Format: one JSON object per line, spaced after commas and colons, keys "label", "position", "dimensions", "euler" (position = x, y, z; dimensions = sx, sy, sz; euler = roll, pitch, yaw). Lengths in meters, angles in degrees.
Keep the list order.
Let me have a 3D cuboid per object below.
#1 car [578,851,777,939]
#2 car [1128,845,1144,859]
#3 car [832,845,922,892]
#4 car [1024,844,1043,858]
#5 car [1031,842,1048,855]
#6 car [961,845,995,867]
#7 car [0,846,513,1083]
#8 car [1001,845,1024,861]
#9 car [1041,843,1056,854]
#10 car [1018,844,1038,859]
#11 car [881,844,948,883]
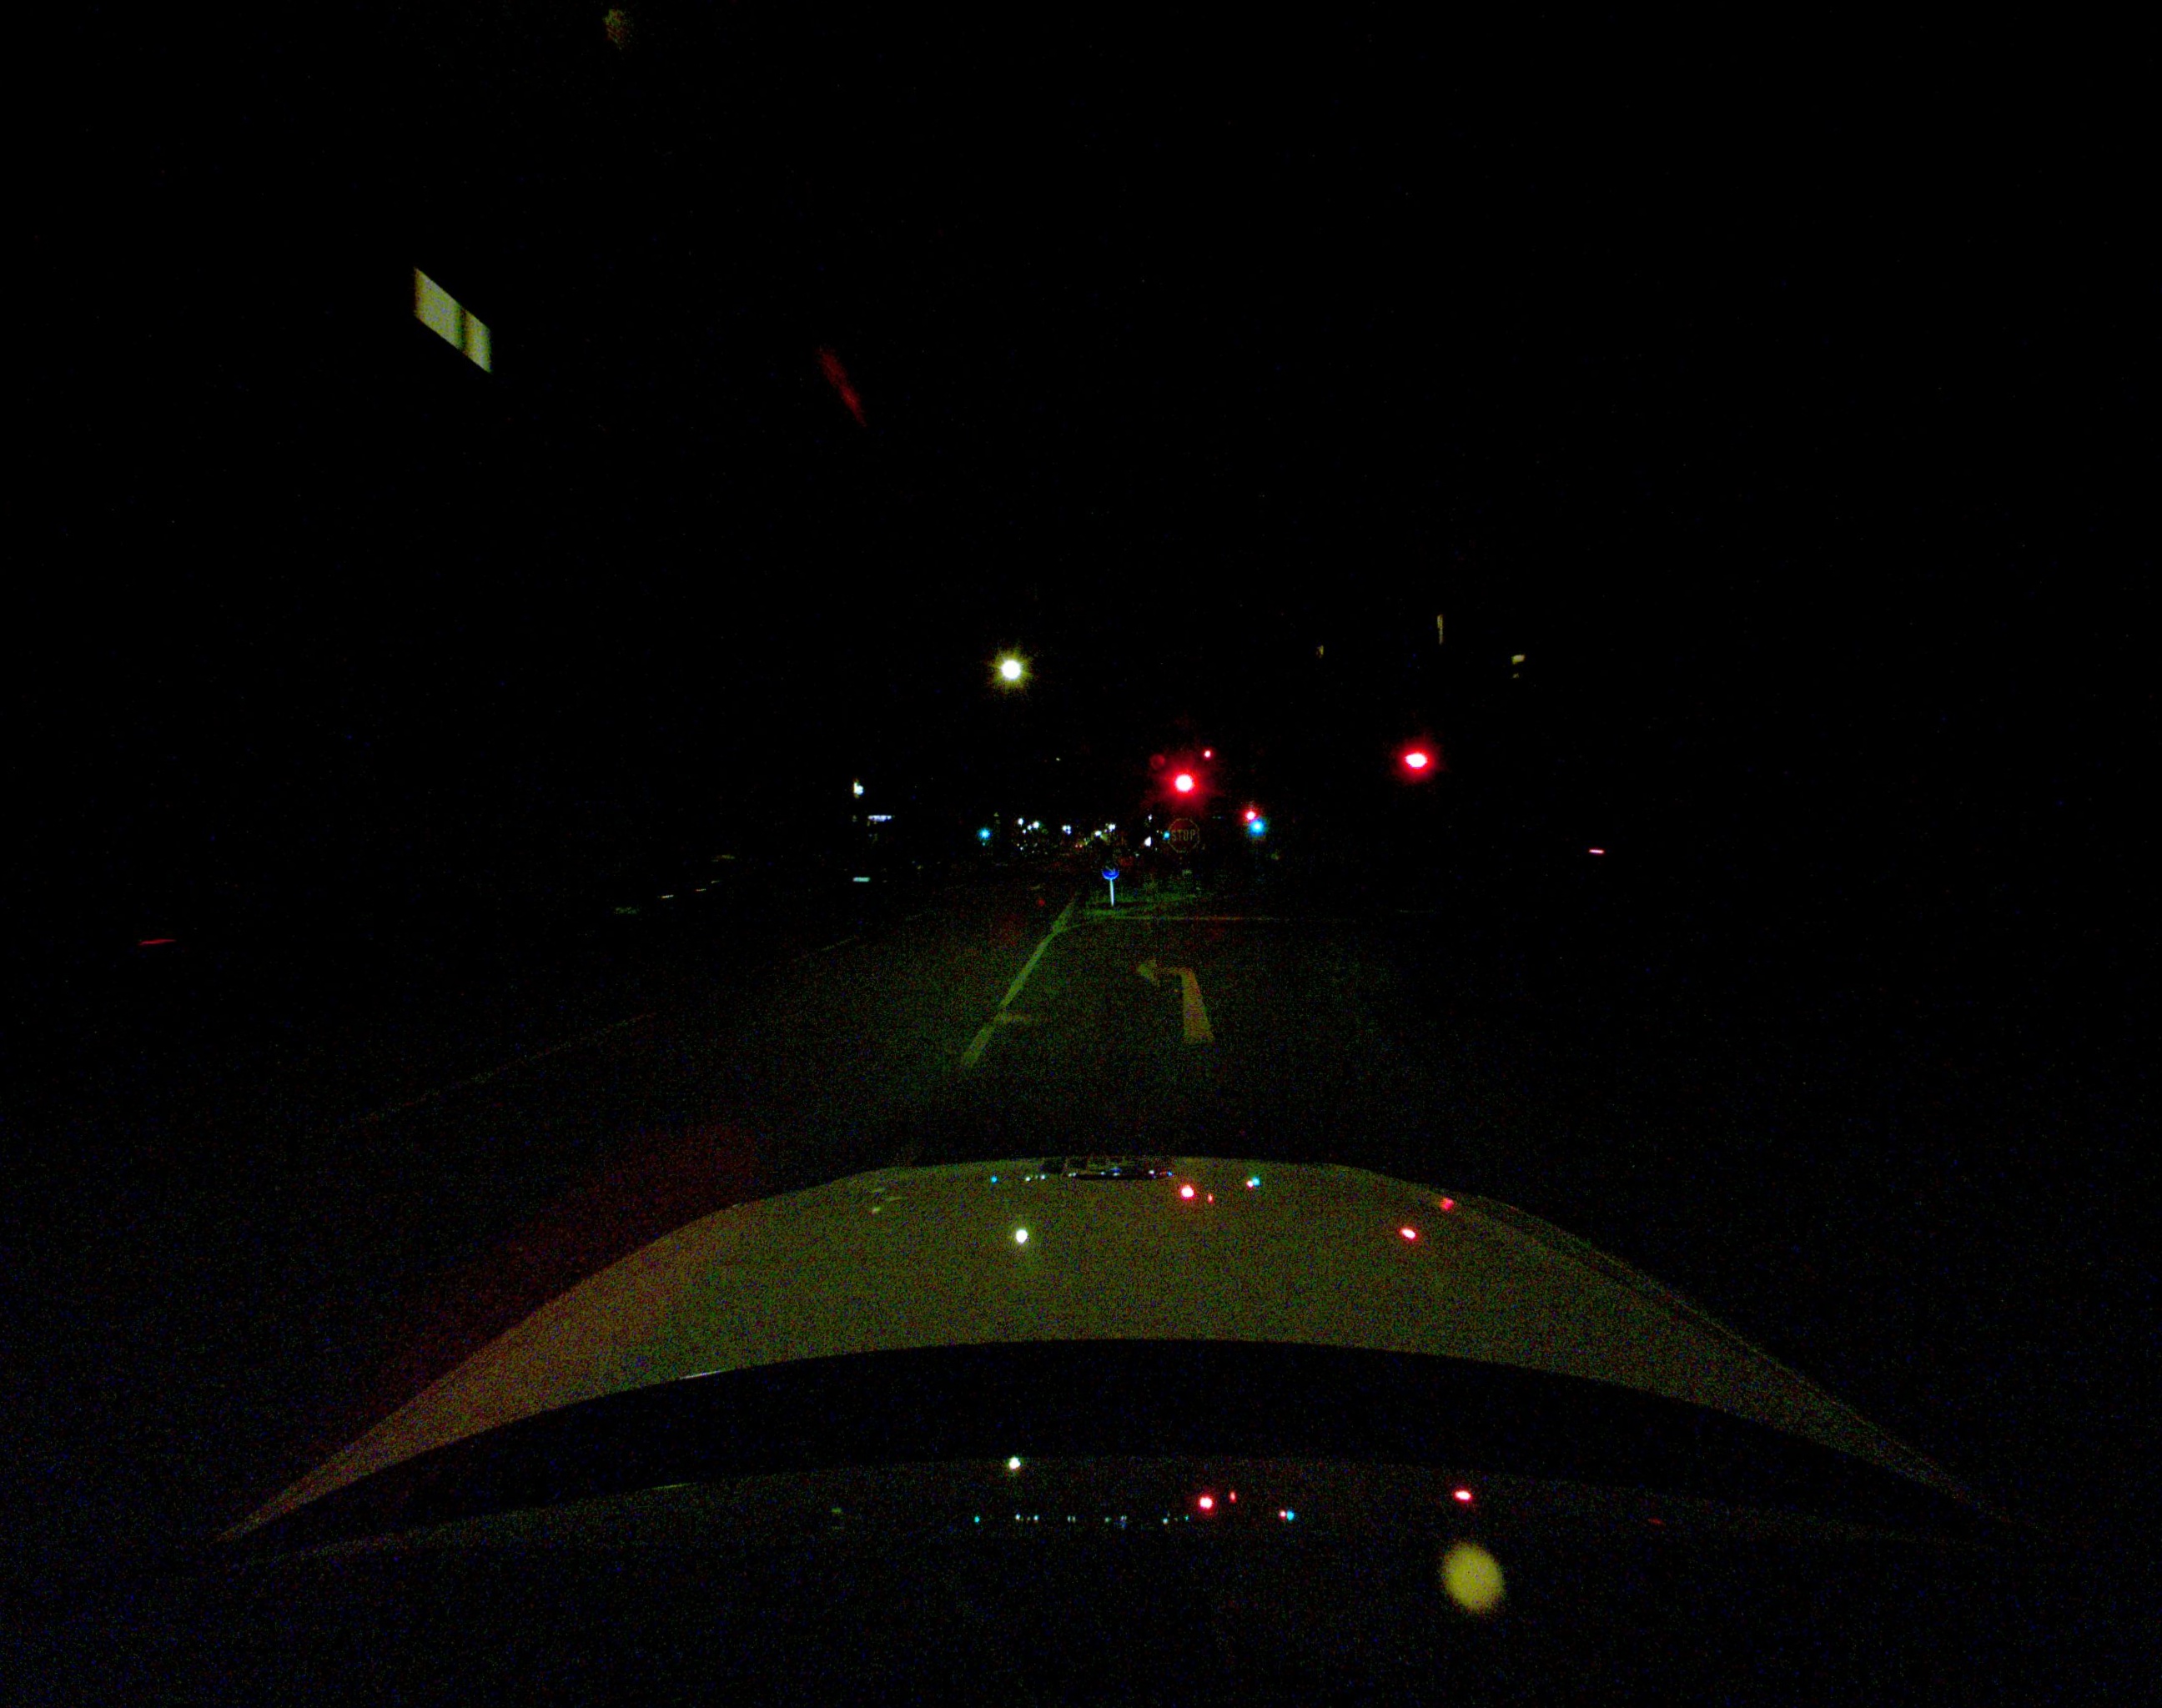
{"label": "car", "position": [-7.441, 0.669, 15.569], "dimensions": [1.617, 1.382, 4.450], "euler": [-1, 1, -1]}
{"label": "car", "position": [5.829, -0.273, 86.720], "dimensions": [1.644, 1.431, 4.004], "euler": [-1, 1, 3]}
{"label": "car", "position": [-7.085, 0.444, 28.731], "dimensions": [1.892, 1.471, 4.454], "euler": [1, 1, 2]}
{"label": "car", "position": [-5.245, -0.356, 90.425], "dimensions": [1.645, 1.431, 4.002], "euler": [-1, 1, 2]}
{"label": "car", "position": [-4.956, -0.693, 97.308], "dimensions": [1.645, 1.431, 4.002], "euler": [-1, 1, 2]}
{"label": "car", "position": [-6.935, 0.106, 54.996], "dimensions": [1.645, 1.431, 4.002], "euler": [-1, 1, 2]}
{"label": "car", "position": [-7.668, 0.694, 7.212], "dimensions": [1.762, 1.485, 4.865], "euler": [-1, 1, 1]}
{"label": "car", "position": [-6.361, -0.131, 76.206], "dimensions": [1.645, 1.431, 4.002], "euler": [-1, 1, 2]}
{"label": "car", "position": [-4.436, -0.742, 111.043], "dimensions": [1.645, 1.431, 4.002], "euler": [-1, 1, 2]}
{"label": "car", "position": [-5.513, -0.284, 84.416], "dimensions": [1.645, 1.431, 4.002], "euler": [-1, 1, 2]}
{"label": "car", "position": [-6.806, 0.350, 33.723], "dimensions": [1.797, 1.481, 4.324], "euler": [-1, 1, 1]}
